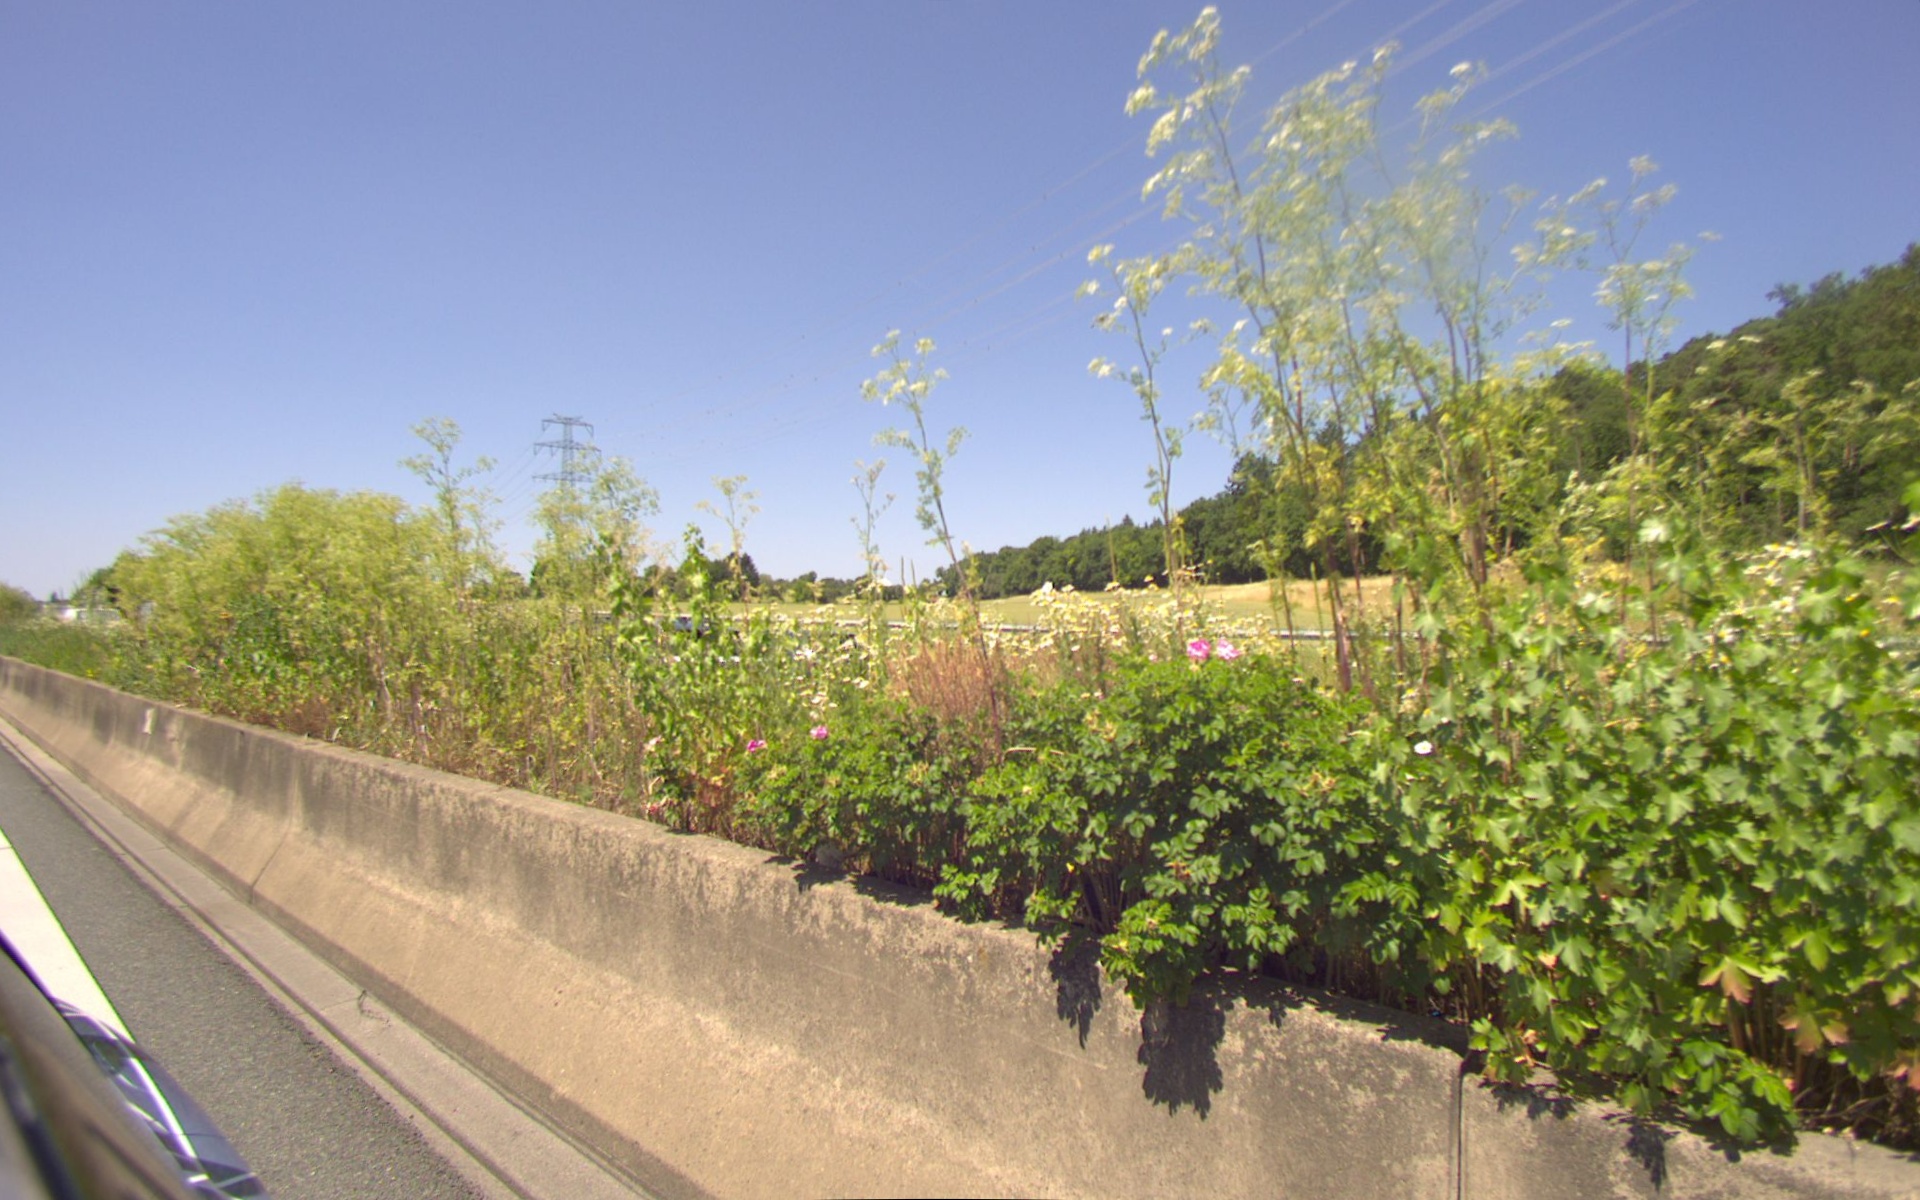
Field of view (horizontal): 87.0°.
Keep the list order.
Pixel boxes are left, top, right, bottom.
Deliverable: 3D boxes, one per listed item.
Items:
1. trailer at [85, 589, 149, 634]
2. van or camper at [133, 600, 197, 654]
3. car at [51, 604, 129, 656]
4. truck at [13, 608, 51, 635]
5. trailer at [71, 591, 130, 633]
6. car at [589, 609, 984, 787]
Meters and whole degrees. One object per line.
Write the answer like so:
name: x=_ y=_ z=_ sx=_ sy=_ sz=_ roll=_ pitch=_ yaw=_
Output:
trailer: x=-74.861 y=1.050 z=89.810 sx=8.198 sy=3.790 sz=3.149 roll=-1 pitch=-2 yaw=42
van or camper: x=-44.455 y=1.488 z=56.555 sx=4.648 sy=2.882 sz=2.026 roll=-1 pitch=-2 yaw=42
car: x=-38.336 y=1.289 z=44.571 sx=4.598 sy=2.163 sz=1.973 roll=-1 pitch=-1 yaw=41
truck: x=-119.737 y=2.799 z=130.551 sx=11.820 sy=3.313 sz=2.734 roll=-1 pitch=-2 yaw=43
trailer: x=-80.794 y=1.158 z=95.087 sx=7.867 sy=3.788 sz=3.091 roll=-1 pitch=-2 yaw=42
car: x=-1.908 y=0.836 z=10.493 sx=3.998 sy=1.480 sz=1.973 roll=-1 pitch=-1 yaw=41
